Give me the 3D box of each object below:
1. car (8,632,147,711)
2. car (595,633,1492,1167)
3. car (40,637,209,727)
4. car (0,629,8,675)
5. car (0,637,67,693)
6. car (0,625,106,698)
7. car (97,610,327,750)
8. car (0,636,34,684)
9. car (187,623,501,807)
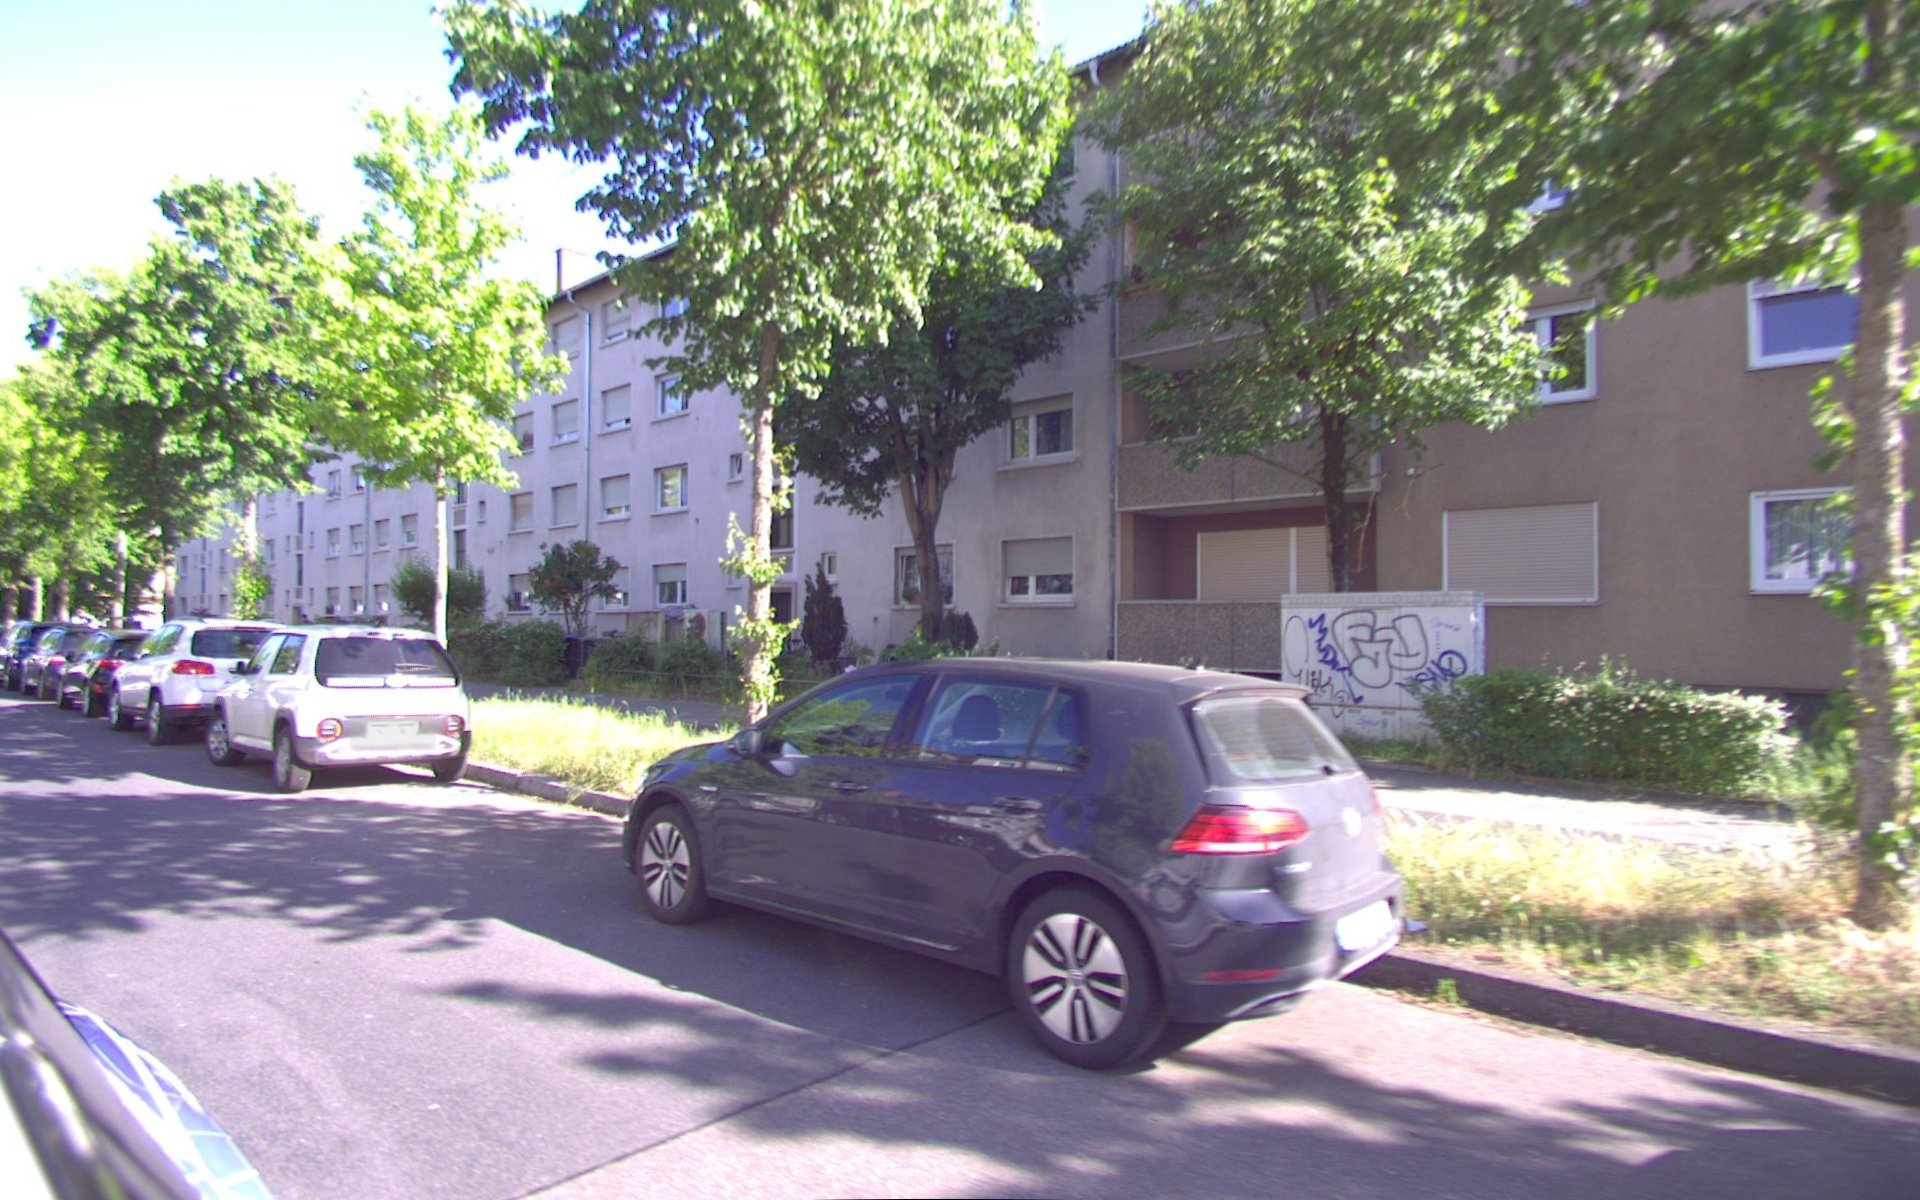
[{"bbox_3d":[-18.650,1.446,21.331,3.965,1.456,1.632,-1,-3,41],"label":"car"},{"bbox_3d":[0.094,0.918,4.842,4.089,1.405,1.643,-1,0,40],"label":"car"},{"bbox_3d":[-15.055,1.381,18.161,4.234,1.402,1.640,-2,-2,41],"label":"car"},{"bbox_3d":[-35.358,1.790,35.905,4.181,1.574,1.855,-1,-3,41],"label":"car"},{"bbox_3d":[-26.202,1.752,27.862,4.066,1.385,1.855,-1,-3,41],"label":"car"},{"bbox_3d":[-22.360,1.445,24.553,4.405,1.597,1.796,-2,-3,41],"label":"car"},{"bbox_3d":[-10.652,1.015,14.298,4.221,1.692,1.686,-1,-3,41],"label":"car"},{"bbox_3d":[-31.090,1.871,32.222,4.181,1.385,1.855,-1,-3,41],"label":"car"},{"bbox_3d":[-6.691,1.053,10.827,3.997,1.538,1.699,-1,0,40],"label":"car"}]
